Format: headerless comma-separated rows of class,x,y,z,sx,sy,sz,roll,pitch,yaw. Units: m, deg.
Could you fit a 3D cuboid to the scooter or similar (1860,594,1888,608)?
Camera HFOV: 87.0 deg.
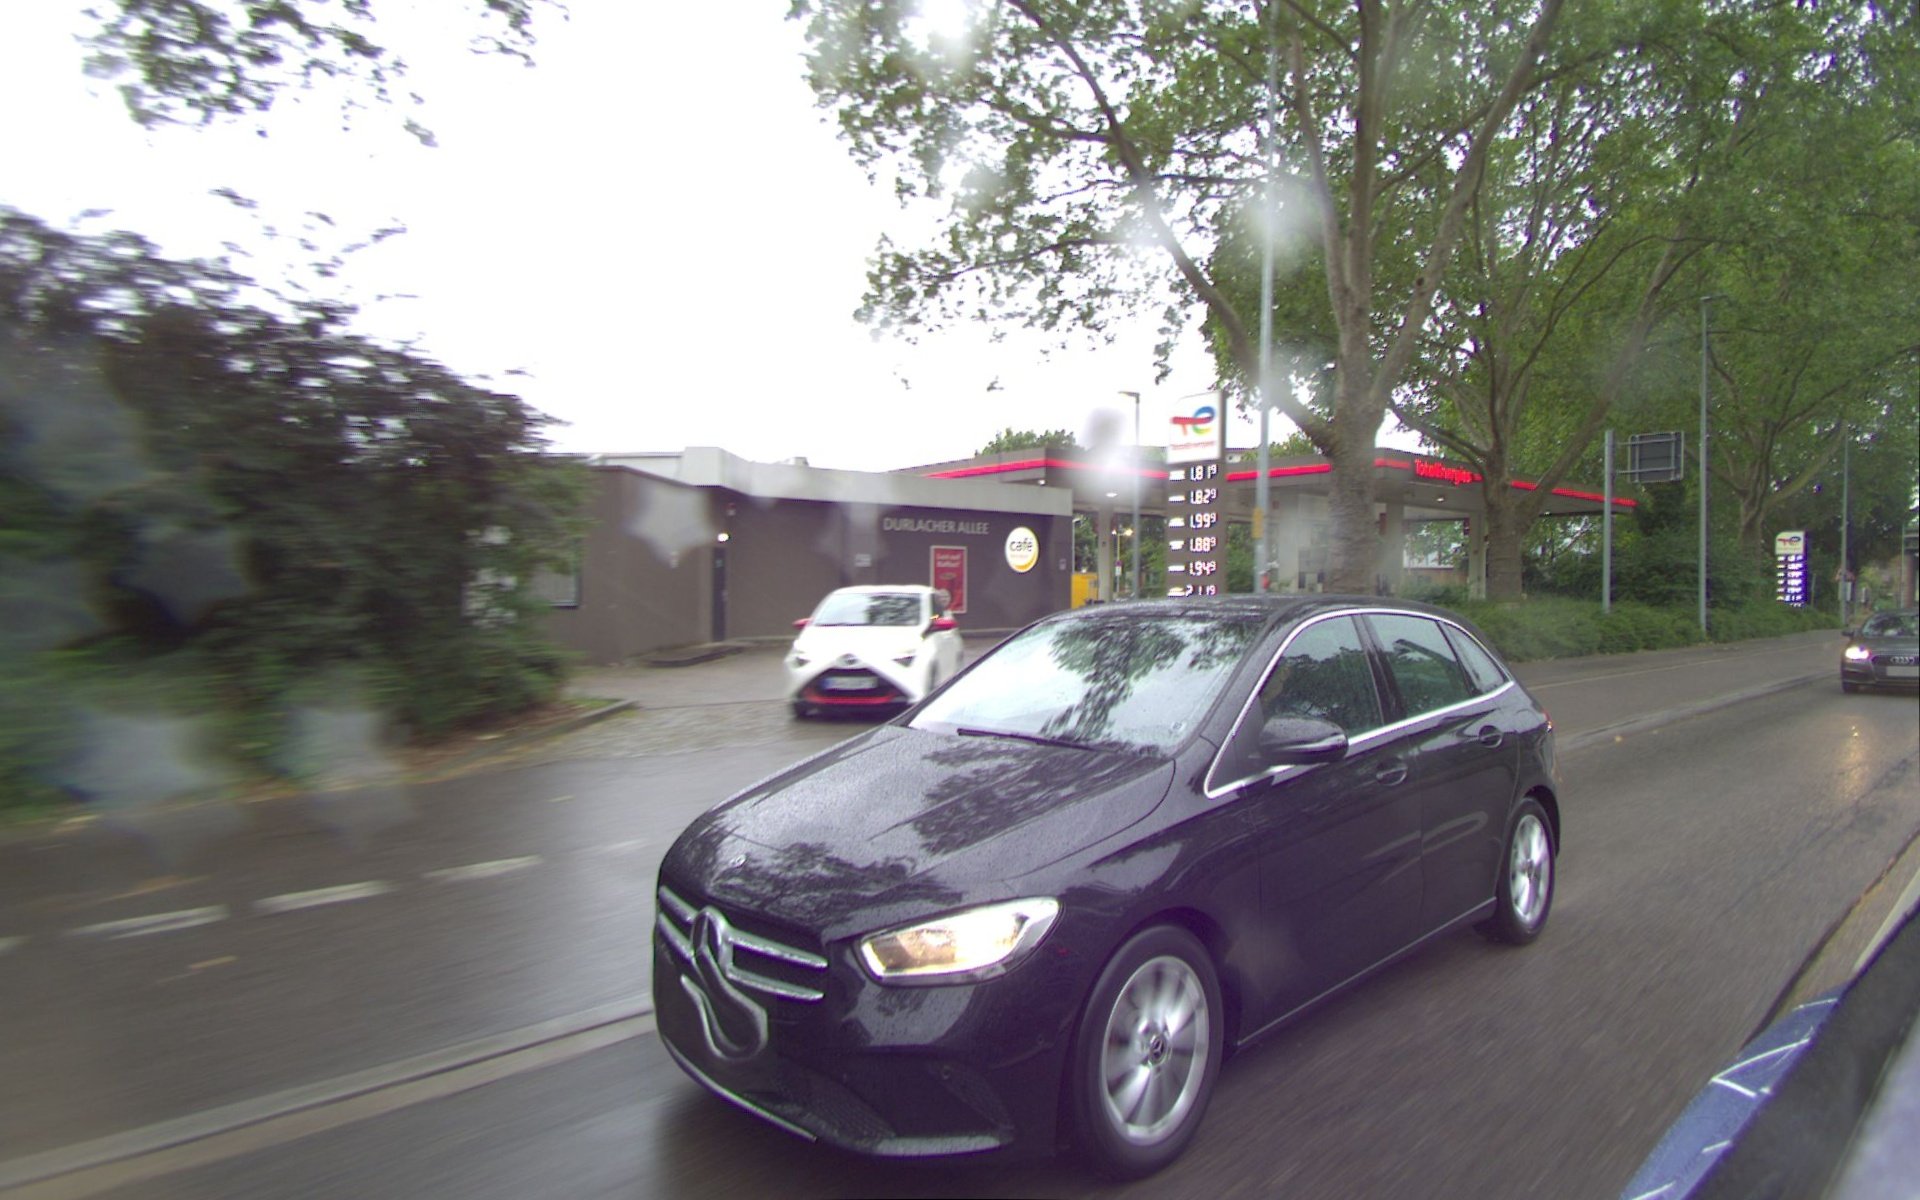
scooter or similar,67.143,0.062,74.343,1.705,1.022,0.454,-1,-1,-3

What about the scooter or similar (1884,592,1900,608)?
scooter or similar,68.955,-0.026,74.863,1.792,1.174,0.454,0,-1,-34

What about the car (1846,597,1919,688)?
car,16.544,0.672,17.177,3.714,1.402,1.641,-1,0,-39

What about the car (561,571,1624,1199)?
car,0.926,0.697,4.028,4.345,1.549,1.819,-1,1,-42

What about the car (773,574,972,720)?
car,-0.871,0.480,11.934,1.581,1.450,3.547,-1,0,8

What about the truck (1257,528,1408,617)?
truck,15.615,-1.056,42.121,7.639,3.395,2.696,0,-1,-43
